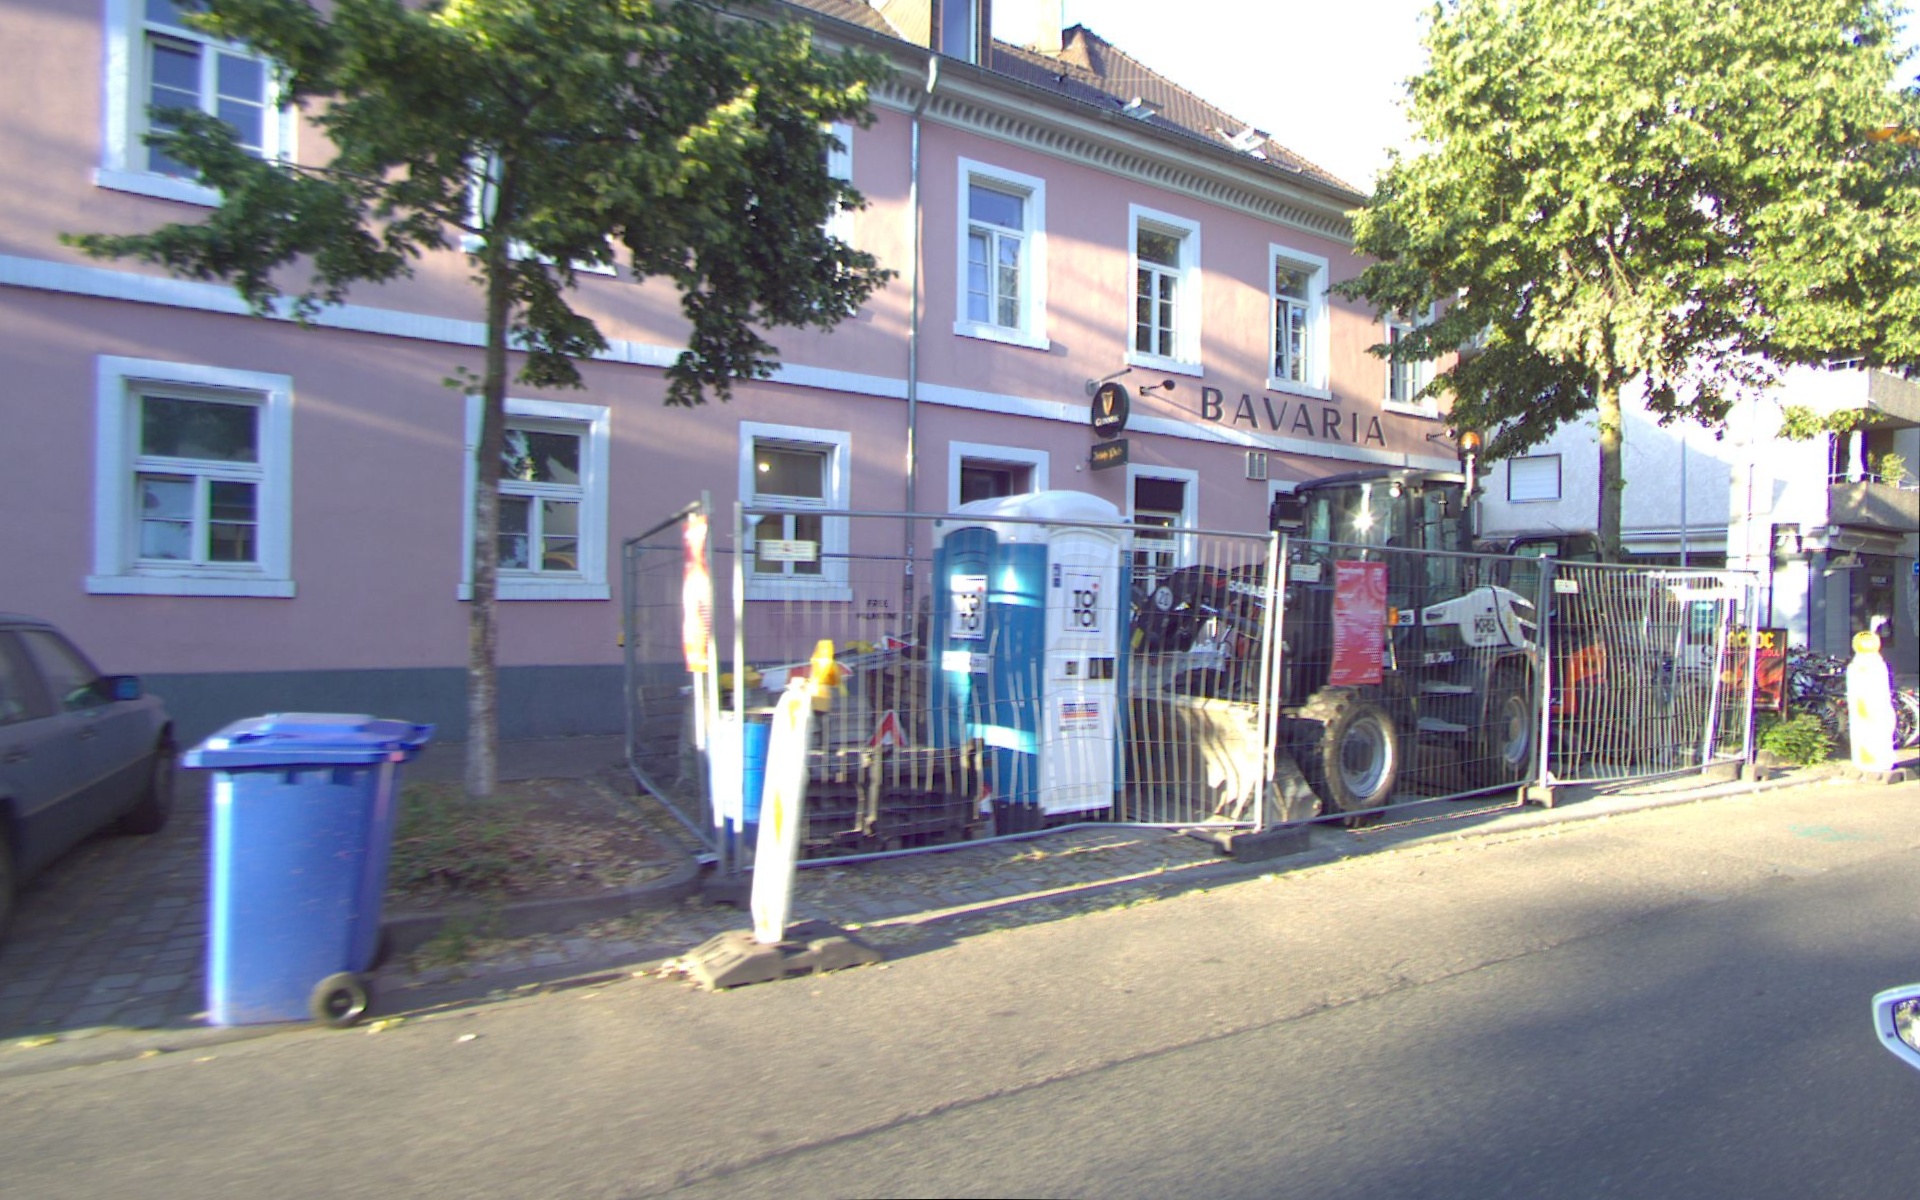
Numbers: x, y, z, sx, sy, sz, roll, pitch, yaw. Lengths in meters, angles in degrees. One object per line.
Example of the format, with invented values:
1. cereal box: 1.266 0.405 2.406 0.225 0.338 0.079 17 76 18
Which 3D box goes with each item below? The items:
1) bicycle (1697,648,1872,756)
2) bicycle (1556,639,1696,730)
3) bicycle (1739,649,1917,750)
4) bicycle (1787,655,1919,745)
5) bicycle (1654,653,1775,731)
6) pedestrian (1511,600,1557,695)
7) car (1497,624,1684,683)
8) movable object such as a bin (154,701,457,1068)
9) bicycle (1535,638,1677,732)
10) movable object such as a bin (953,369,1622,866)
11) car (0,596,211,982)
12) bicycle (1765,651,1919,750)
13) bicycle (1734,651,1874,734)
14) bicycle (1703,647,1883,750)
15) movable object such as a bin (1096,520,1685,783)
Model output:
1. bicycle: 9.941 1.207 12.170 1.521 1.131 0.444 3 1 28
2. bicycle: 9.569 1.181 14.499 0.438 1.164 1.677 2 0 -26
3. bicycle: 11.163 1.250 12.988 0.438 1.093 1.679 2 1 -21
4. bicycle: 12.308 1.334 13.589 0.438 1.035 1.679 2 1 -21
5. bicycle: 10.849 1.304 14.473 0.439 0.993 1.320 2 0 -26
6. pedestrian: 10.878 0.898 19.034 0.715 1.760 0.500 4 -2 -39
7. car: 17.112 1.399 27.322 4.142 1.398 1.992 0 -1 38
8. movable object such as a bin: -2.399 0.978 3.795 0.872 1.119 0.687 1 -1 -28
9. bicycle: 9.064 1.164 14.167 0.438 1.164 1.677 2 0 -26
10. movable object such as a bin: 2.854 0.157 8.547 5.241 3.008 2.612 1 -1 -30
11. car: -5.144 0.732 4.646 1.868 1.489 4.578 1 0 -26
12. bicycle: 11.684 1.284 13.209 0.438 1.093 1.679 2 1 -21
13. bicycle: 12.325 1.327 14.710 0.466 1.073 1.477 2 0 -35
14. bicycle: 10.583 1.221 12.831 0.439 1.093 1.674 2 1 -30
15. movable object such as a bin: 4.516 0.489 11.477 5.638 2.528 2.315 1 -1 14
